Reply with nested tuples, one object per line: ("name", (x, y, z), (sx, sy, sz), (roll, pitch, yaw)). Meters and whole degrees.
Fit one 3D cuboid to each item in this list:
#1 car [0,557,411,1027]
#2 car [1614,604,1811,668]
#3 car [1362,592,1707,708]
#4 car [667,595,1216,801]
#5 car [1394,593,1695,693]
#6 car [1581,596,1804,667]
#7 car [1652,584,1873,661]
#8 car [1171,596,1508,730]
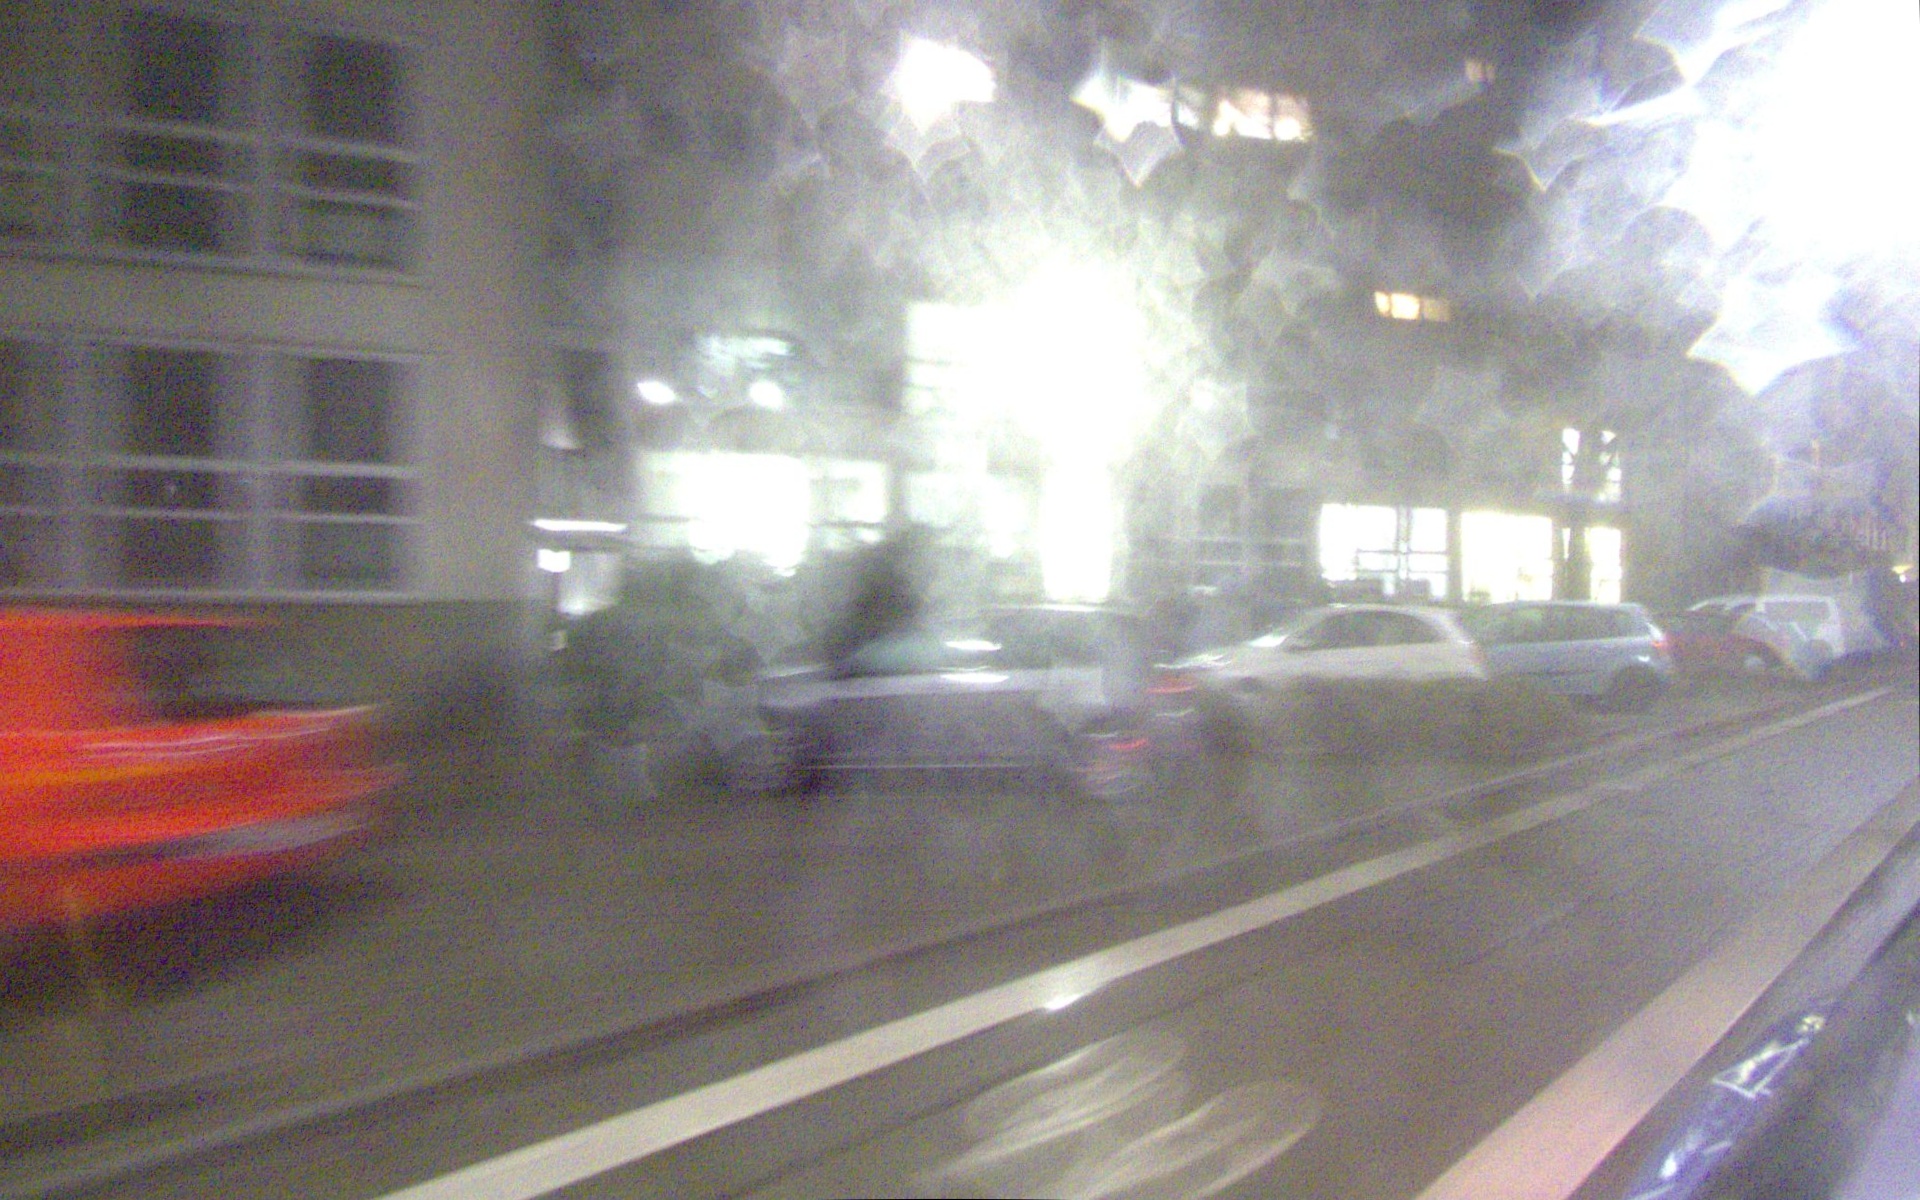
("car", (-4.731, 0.639, 4.119), (4.107, 1.501, 1.662), (0, -1, 1))
("car", (15.467, 0.726, 20.920), (2.891, 1.238, 1.507), (0, 0, 3))
("car", (8.158, 0.668, 14.731), (3.946, 1.547, 1.797), (0, 0, 8))
("car", (-0.120, 0.717, 8.294), (4.091, 1.463, 1.652), (0, 0, 8))
("car", (9.630, 0.673, 16.975), (3.946, 1.547, 1.797), (0, 0, 8))
("car", (16.916, 0.689, 23.600), (3.913, 1.527, 1.608), (0, 0, 23))
("car", (19.624, 0.529, 24.924), (3.898, 1.793, 1.664), (0, 0, 13))
("car", (4.602, 0.736, 12.723), (3.602, 1.547, 1.715), (0, 0, 4))
